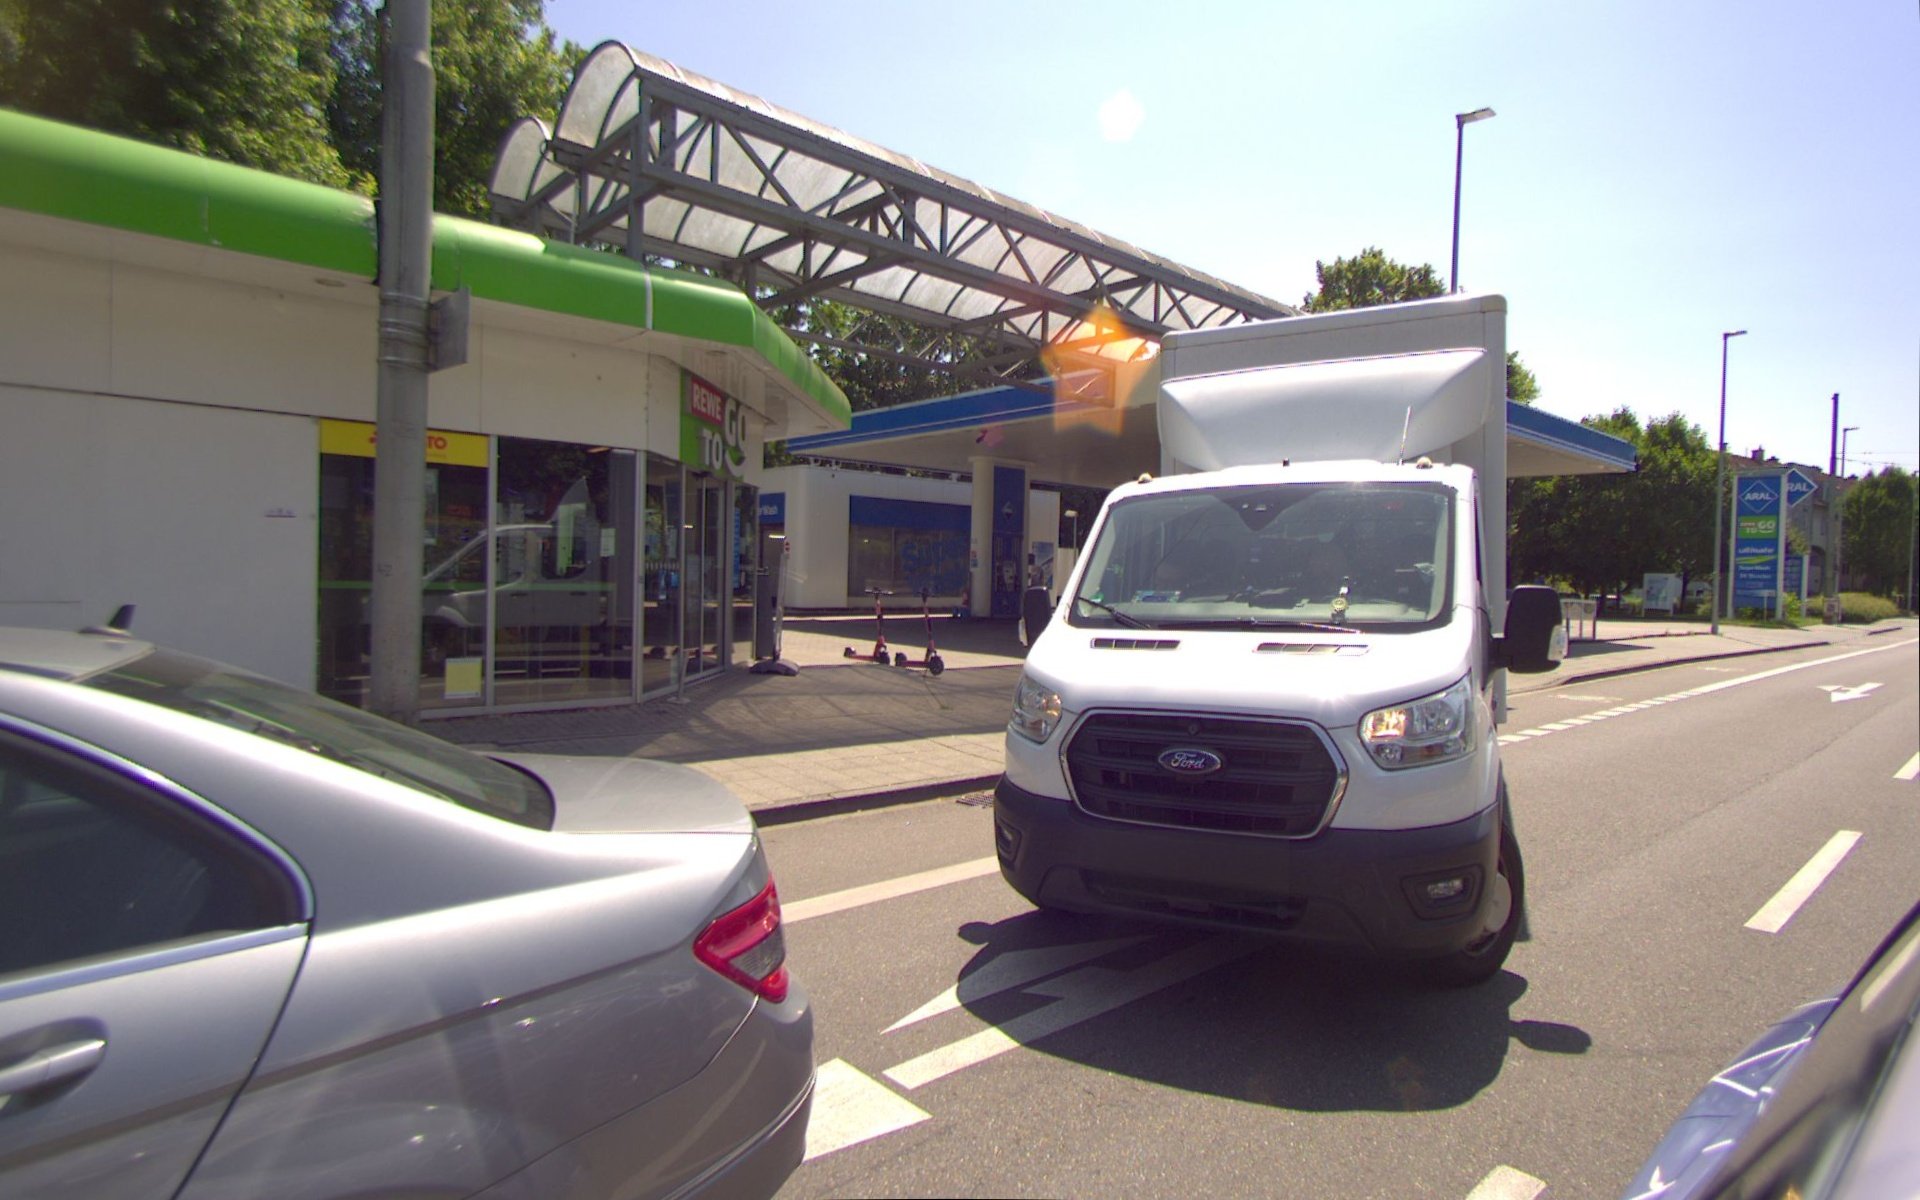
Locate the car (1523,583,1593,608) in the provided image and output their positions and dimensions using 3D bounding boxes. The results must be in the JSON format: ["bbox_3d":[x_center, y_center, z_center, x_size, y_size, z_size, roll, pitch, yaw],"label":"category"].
[{"bbox_3d":[43.986,-0.347,74.505,1.959,1.708,4.007,0,1,-27],"label":"car"}]

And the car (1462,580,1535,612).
[{"bbox_3d":[30.173,-0.255,56.679,4.329,1.683,1.999,-1,2,-37],"label":"car"}]

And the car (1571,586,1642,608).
[{"bbox_3d":[50.166,-0.230,78.589,1.961,1.540,4.229,0,1,-33],"label":"car"}]

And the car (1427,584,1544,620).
[{"bbox_3d":[22.342,0.064,43.129,4.063,1.439,1.719,1,1,0],"label":"car"}]

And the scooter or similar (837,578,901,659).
[{"bbox_3d":[-1.416,0.272,15.627,0.377,1.191,1.137,0,1,-40],"label":"scooter or similar"}]

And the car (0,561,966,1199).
[{"bbox_3d":[-2.215,0.670,1.199,4.340,1.467,1.799,0,2,-41],"label":"car"}]

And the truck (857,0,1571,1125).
[{"bbox_3d":[2.474,-0.281,6.921,2.405,3.433,7.757,2,1,28],"label":"truck"}]

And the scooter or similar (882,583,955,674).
[{"bbox_3d":[-0.616,0.393,14.710,0.404,1.256,1.176,0,1,-40],"label":"scooter or similar"}]
